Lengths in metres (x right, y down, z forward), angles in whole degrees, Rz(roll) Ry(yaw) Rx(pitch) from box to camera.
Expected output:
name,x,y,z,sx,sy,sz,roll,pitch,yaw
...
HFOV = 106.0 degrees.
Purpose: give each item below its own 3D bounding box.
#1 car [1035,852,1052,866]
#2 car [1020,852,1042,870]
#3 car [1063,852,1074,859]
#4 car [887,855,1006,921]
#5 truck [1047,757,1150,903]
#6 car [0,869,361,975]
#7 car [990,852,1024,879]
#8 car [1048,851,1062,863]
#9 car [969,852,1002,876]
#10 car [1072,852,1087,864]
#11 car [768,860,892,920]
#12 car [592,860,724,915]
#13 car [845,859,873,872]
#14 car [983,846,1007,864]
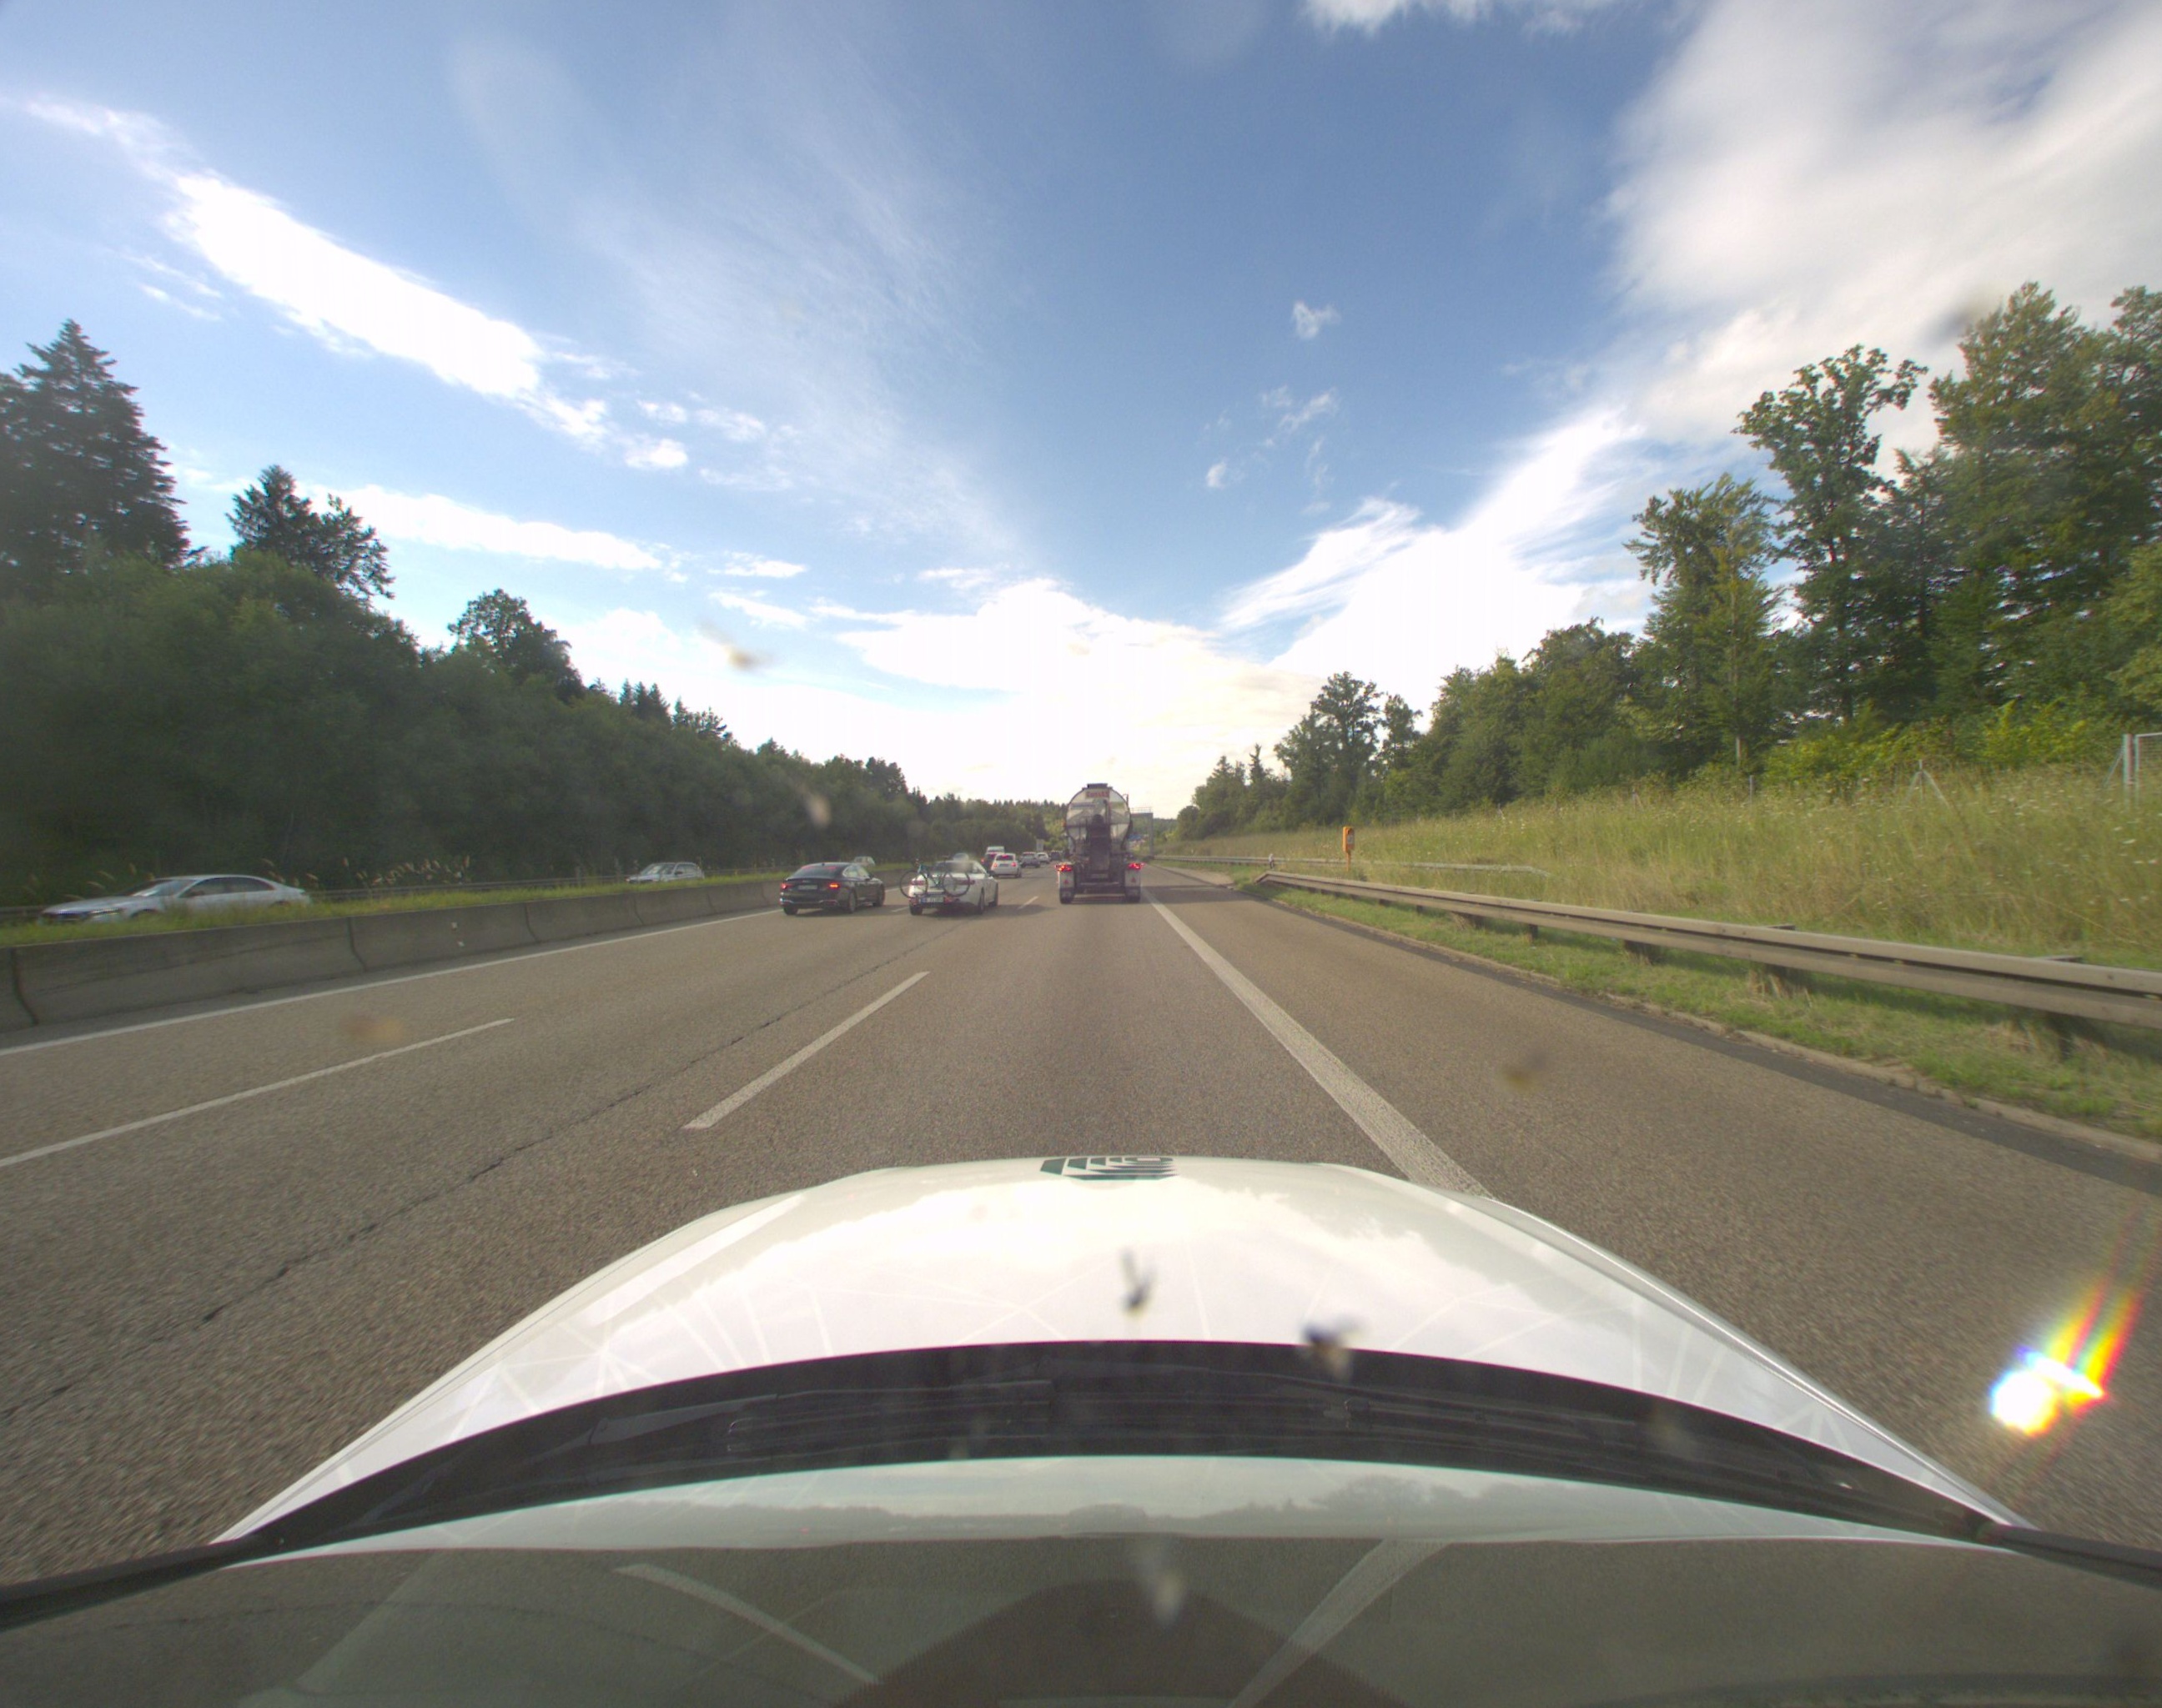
name,x,y,z,sx,sy,sz,roll,pitch,yaw
car,-4.745,0.622,103.483,1.800,1.585,4.208,-1,1,1
car,-4.856,0.642,79.731,1.800,1.585,4.208,-1,1,1
car,-2.505,0.295,165.564,1.935,1.456,4.208,-1,1,1
car,-3.455,0.799,22.133,2.052,1.499,5.738,-1,0,2
truck,0.712,-0.729,29.193,2.901,4.157,11.275,-1,0,2
car,-22.483,1.558,20.883,2.569,2.138,5.968,-1,0,2
car,-4.471,0.661,49.594,1.612,1.544,3.521,-1,0,1
car,-3.868,0.440,122.467,1.935,1.585,4.208,-1,1,1
car,-6.875,0.697,58.905,1.800,1.585,4.208,-1,1,1
car,-0.164,0.564,115.334,1.935,1.654,4.208,-1,1,1
car,-6.914,0.939,23.034,1.849,1.431,4.843,-1,0,2
car,-18.619,1.387,36.302,2.569,2.138,5.968,-1,0,2
car,-20.523,1.086,75.445,1.585,1.094,3.174,-1,0,2
car,-12.172,0.116,115.498,2.569,2.346,5.831,-1,0,2
